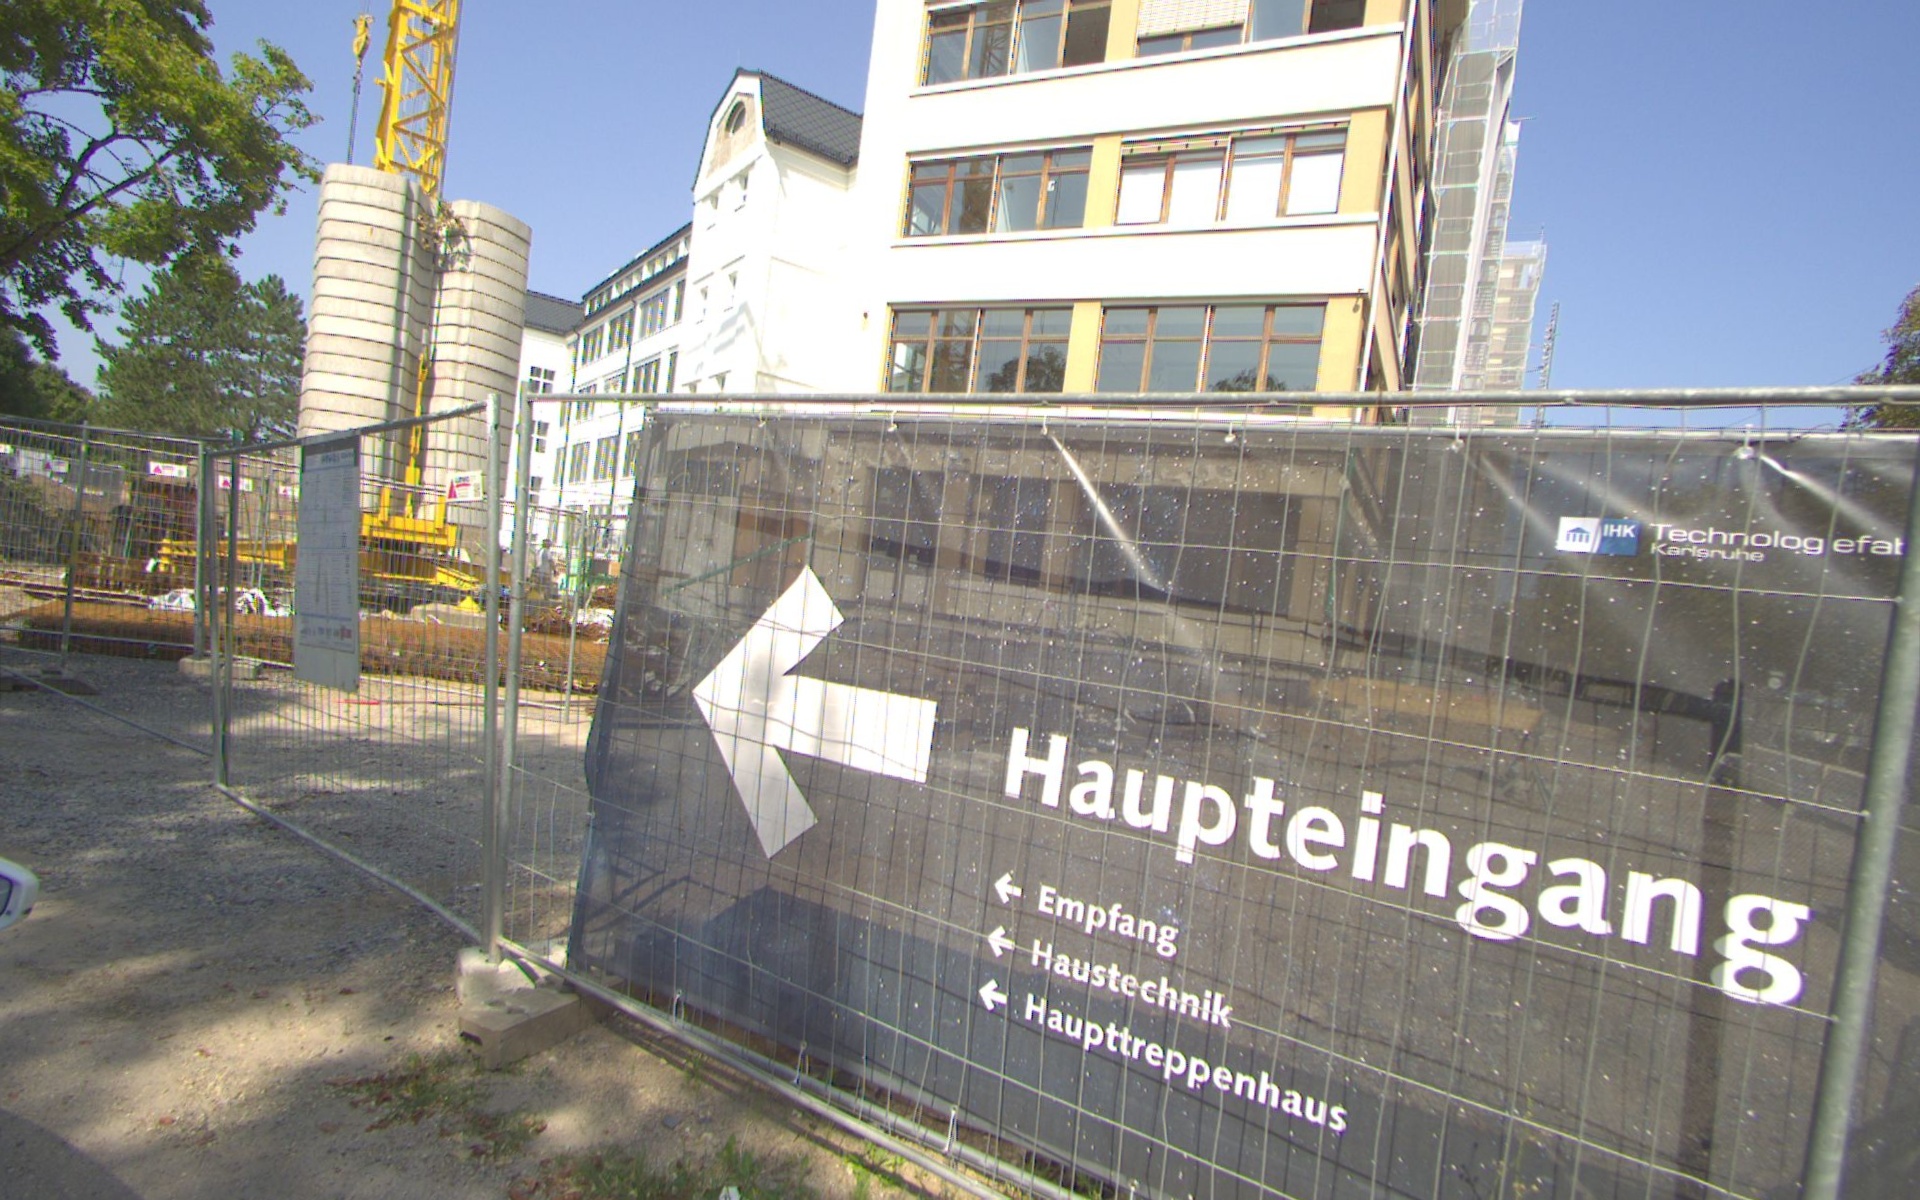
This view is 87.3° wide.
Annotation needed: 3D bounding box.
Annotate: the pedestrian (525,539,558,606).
[{"bbox_3d":[-10.045,-0.663,24.141,0.518,1.547,0.492,7,1,-28],"label":"pedestrian"}]
